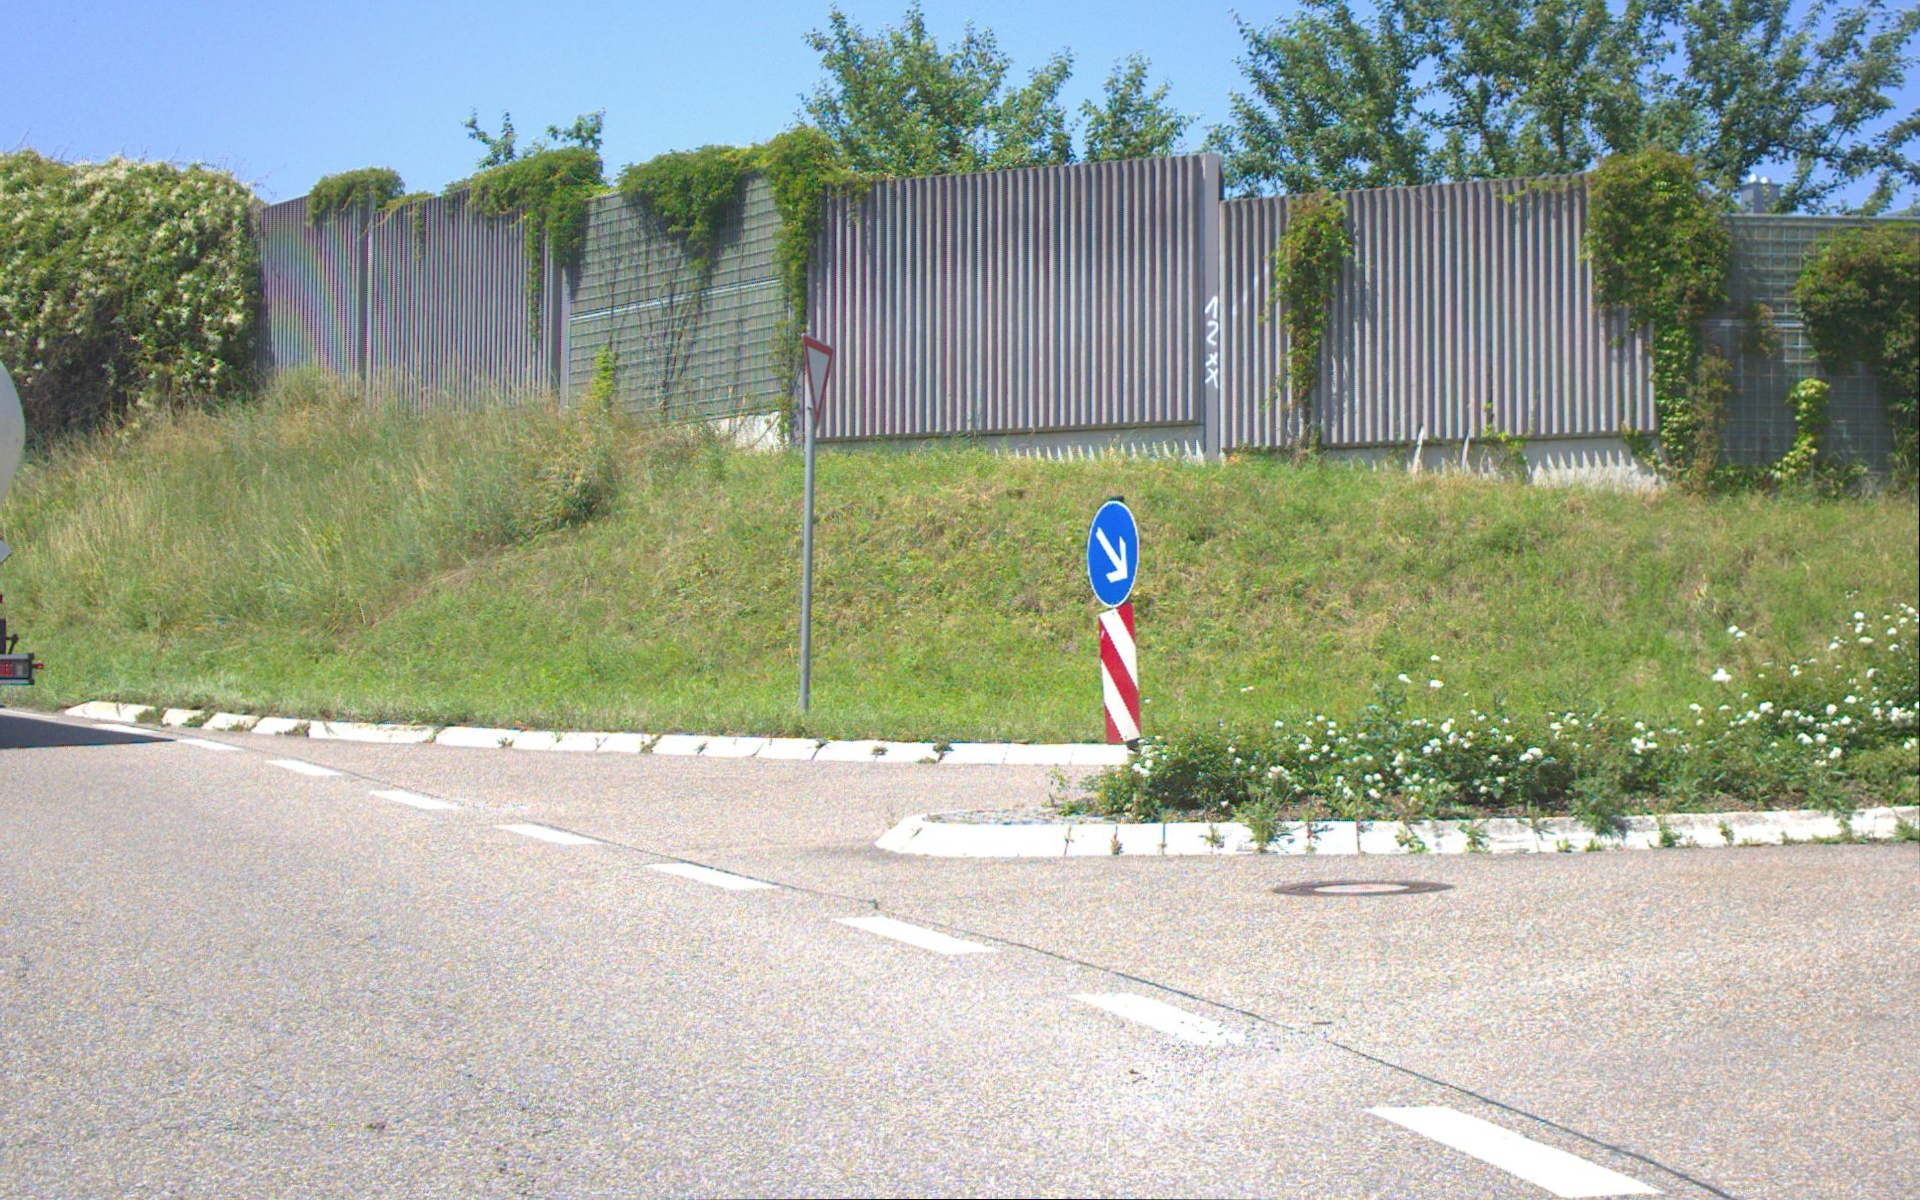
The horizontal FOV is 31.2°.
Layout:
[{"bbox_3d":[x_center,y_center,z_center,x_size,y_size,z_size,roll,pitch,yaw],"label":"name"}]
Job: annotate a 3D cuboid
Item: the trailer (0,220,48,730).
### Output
[{"bbox_3d":[-11.718,-1.166,32.783,2.661,4.174,11.905,-1,2,-31],"label":"trailer"}]
